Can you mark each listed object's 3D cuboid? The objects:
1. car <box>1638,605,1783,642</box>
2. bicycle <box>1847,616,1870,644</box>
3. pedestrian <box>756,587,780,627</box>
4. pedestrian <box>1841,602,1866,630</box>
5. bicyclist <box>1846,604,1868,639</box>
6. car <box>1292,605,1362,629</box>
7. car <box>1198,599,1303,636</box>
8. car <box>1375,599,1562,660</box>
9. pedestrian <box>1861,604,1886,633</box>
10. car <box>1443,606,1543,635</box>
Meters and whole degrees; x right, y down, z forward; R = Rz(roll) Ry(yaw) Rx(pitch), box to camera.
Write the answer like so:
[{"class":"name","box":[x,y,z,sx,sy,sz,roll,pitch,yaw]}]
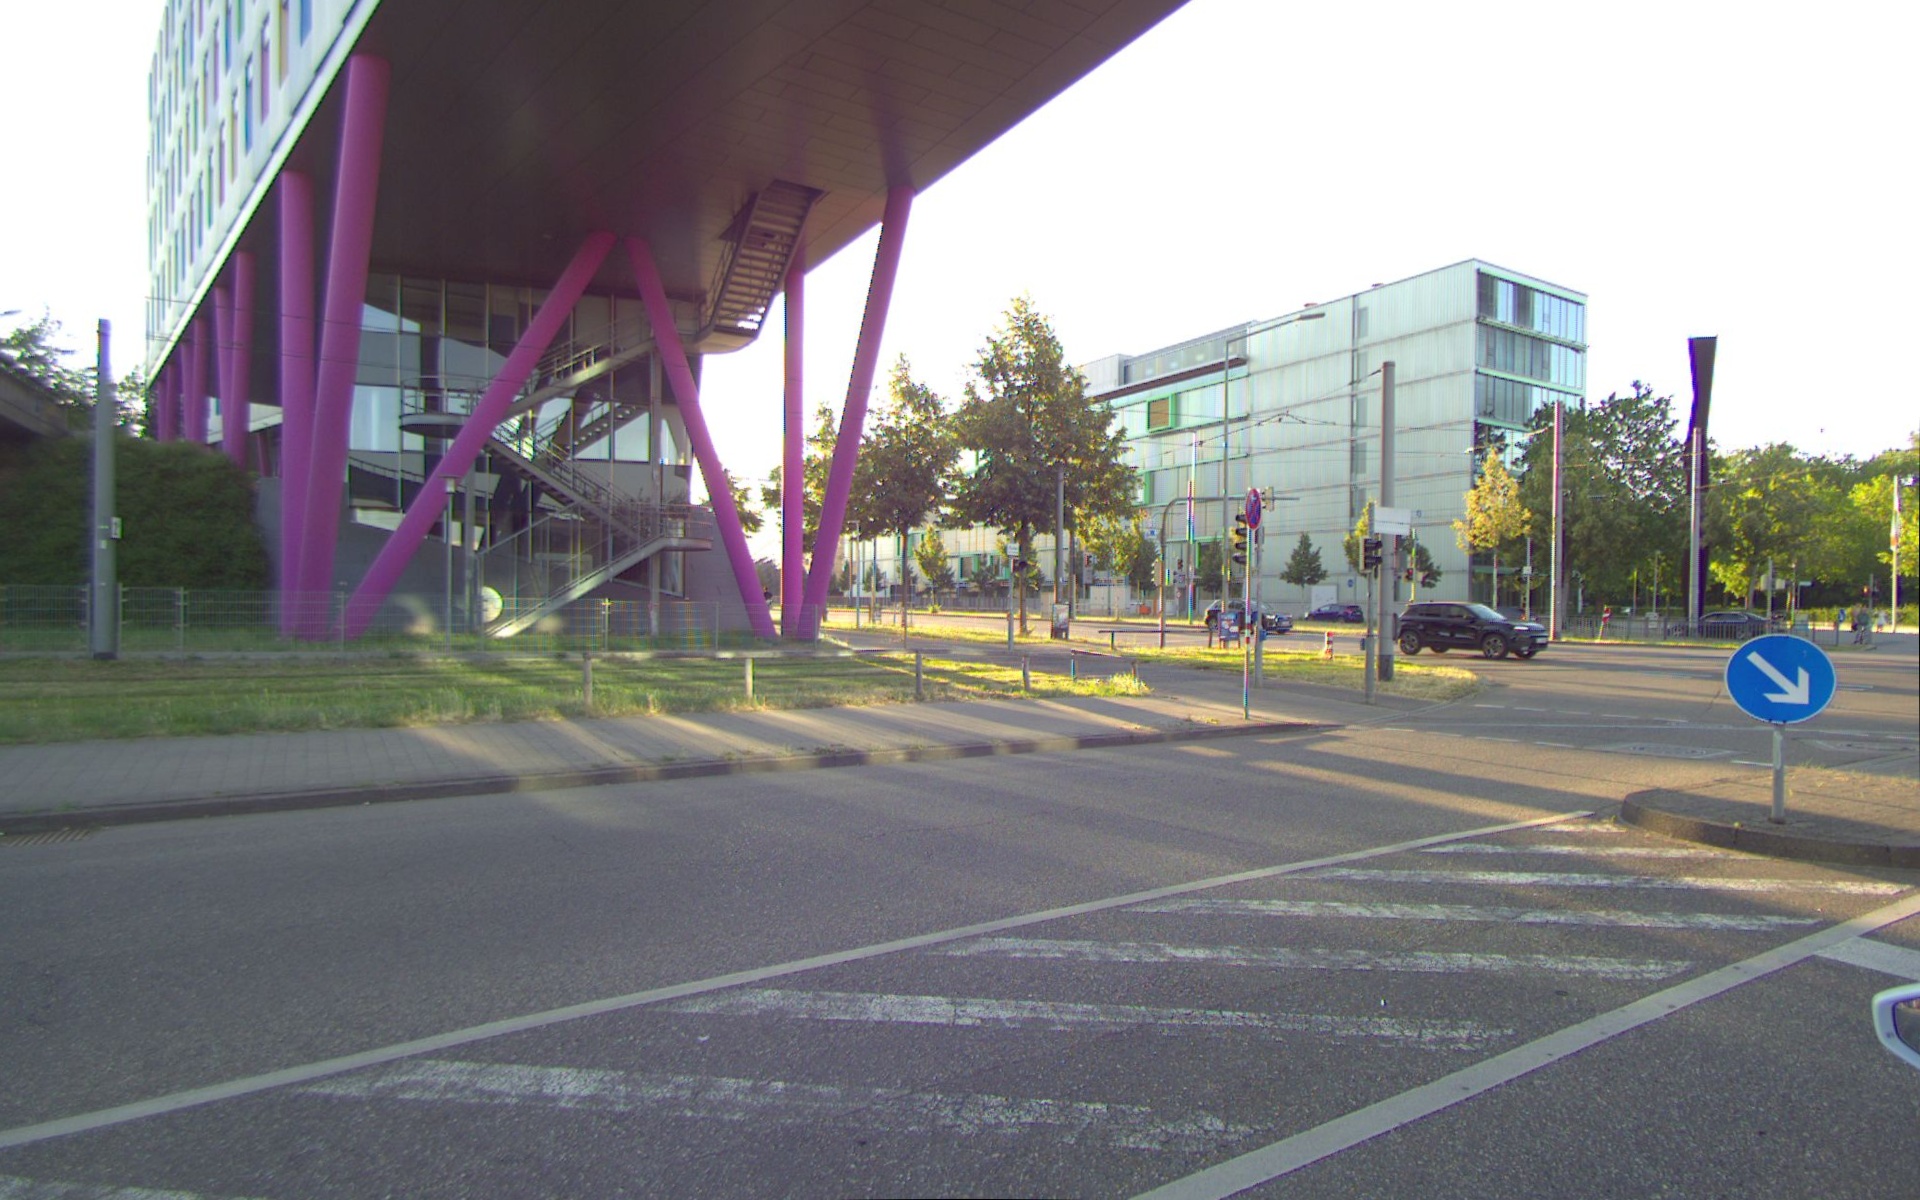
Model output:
[{"class":"car","box":[35.633,1.096,47.842,1.977,1.572,5.200,2,-1,-30]},{"class":"bicycle","box":[45.095,1.481,50.420,0.721,1.359,2.678,1,0,39]},{"class":"pedestrian","box":[-8.647,0.322,45.228,0.919,1.747,0.879,0,-2,-19]},{"class":"pedestrian","box":[56.783,1.023,63.832,0.814,1.767,0.862,1,0,-3]},{"class":"bicyclist","box":[45.125,1.072,50.512,0.741,1.732,0.916,1,0,38]},{"class":"car","box":[25.751,1.197,70.555,1.975,1.572,4.454,2,-1,-28]},{"class":"car","box":[13.292,0.795,46.203,1.968,1.577,4.448,1,0,-34]},{"class":"car","box":[14.522,0.789,28.901,1.979,1.595,4.407,1,0,-34]},{"class":"pedestrian","box":[58.010,1.161,63.802,0.813,1.767,0.863,1,0,5]},{"class":"car","box":[32.145,1.209,60.697,1.977,1.572,5.075,2,-1,-30]}]
